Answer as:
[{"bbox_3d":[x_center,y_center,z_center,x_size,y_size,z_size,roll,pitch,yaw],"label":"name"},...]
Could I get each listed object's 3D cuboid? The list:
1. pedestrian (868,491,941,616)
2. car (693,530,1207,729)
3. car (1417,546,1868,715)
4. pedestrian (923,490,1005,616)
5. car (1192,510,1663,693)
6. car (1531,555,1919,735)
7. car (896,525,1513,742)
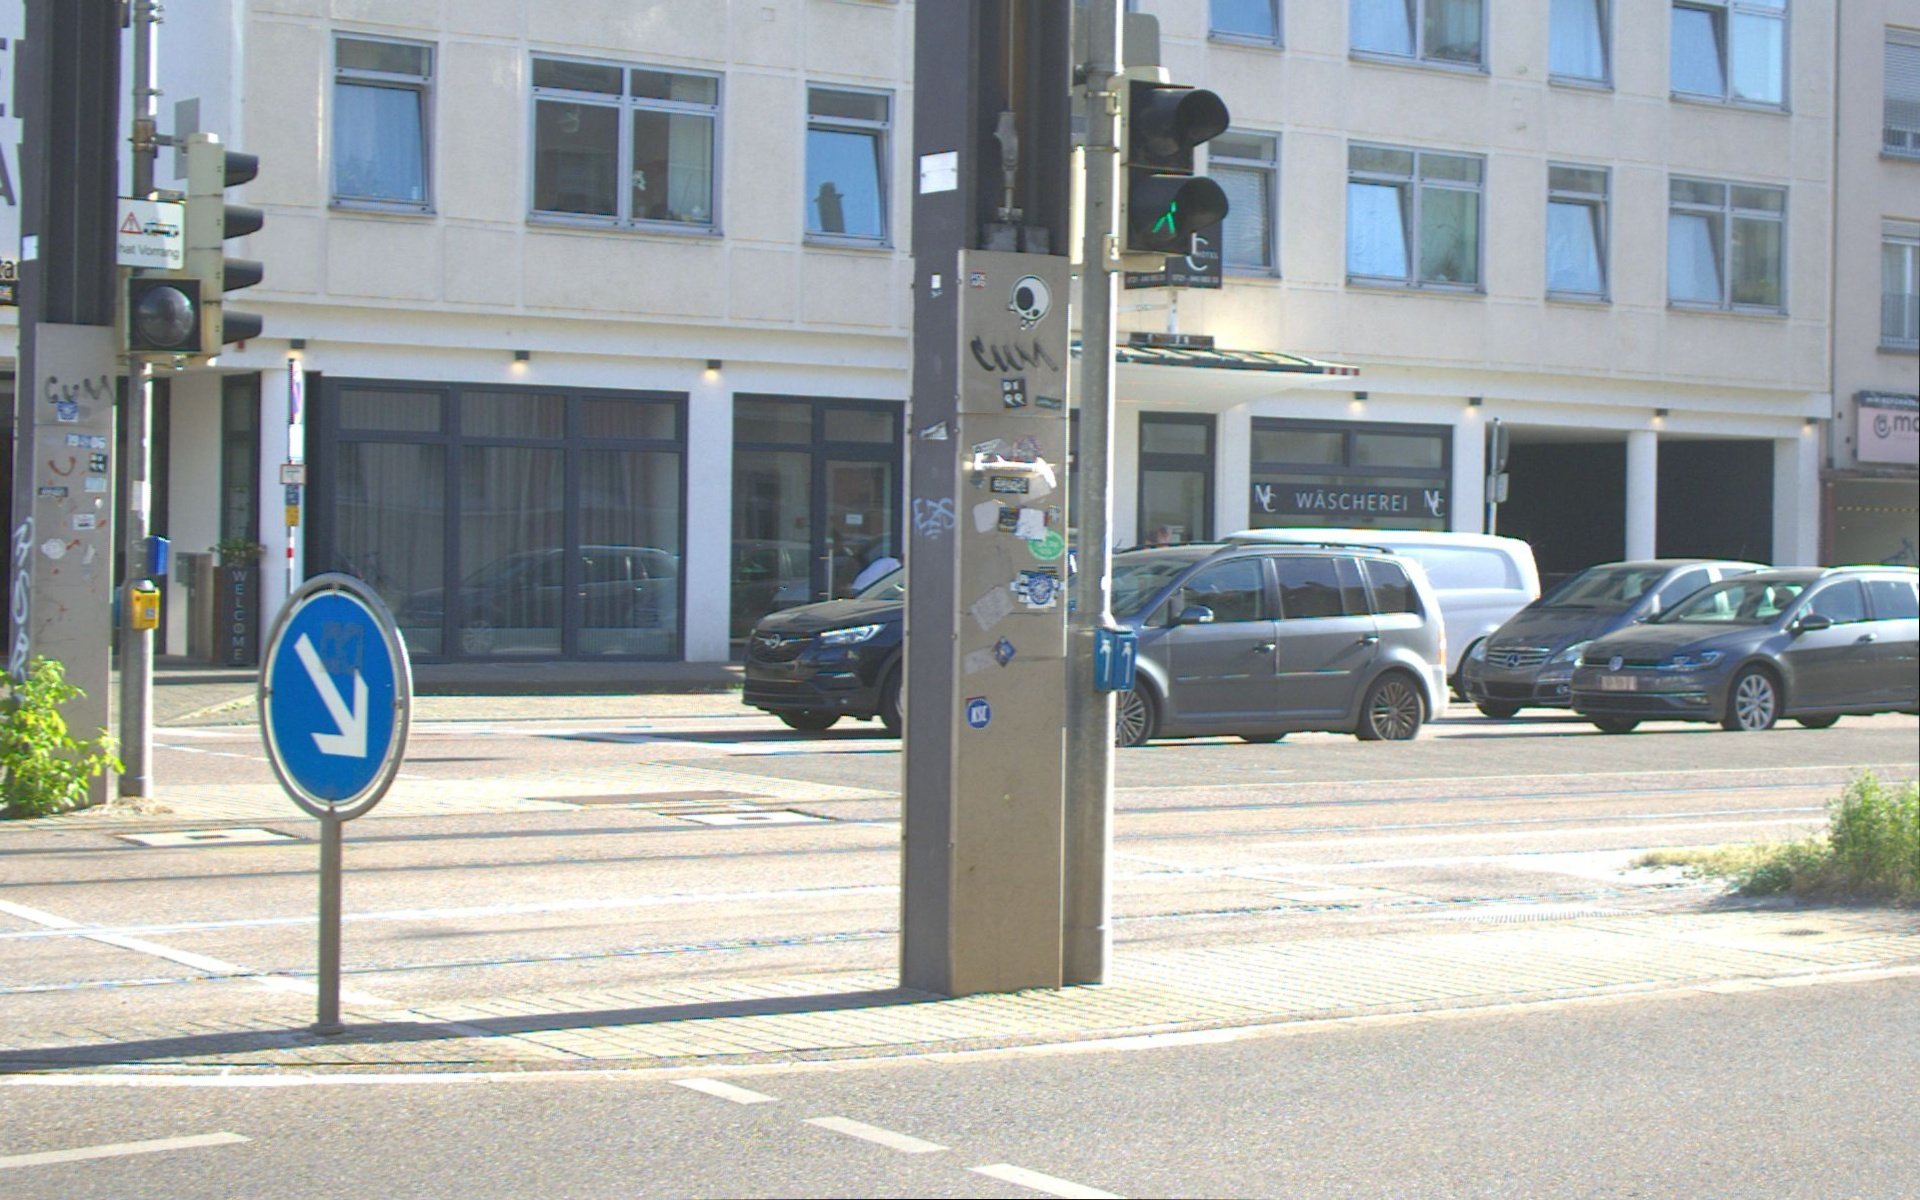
[{"bbox_3d":[-0.623,-0.526,38.721,0.500,1.371,0.601,2,-1,41],"label":"pedestrian"},{"bbox_3d":[-0.050,0.258,29.056,4.033,1.570,1.795,1,0,-36],"label":"car"},{"bbox_3d":[6.837,0.316,34.269,4.309,1.570,1.989,1,0,-36],"label":"car"},{"bbox_3d":[0.046,-0.521,38.224,0.684,1.371,0.528,2,-1,33],"label":"pedestrian"},{"bbox_3d":[5.368,0.020,39.126,5.309,1.862,1.949,1,4,-35],"label":"car"},{"bbox_3d":[7.375,0.410,30.397,4.526,1.486,1.824,1,0,-33],"label":"car"},{"bbox_3d":[1.920,0.269,26.485,4.438,1.543,1.936,1,0,-33],"label":"car"}]
